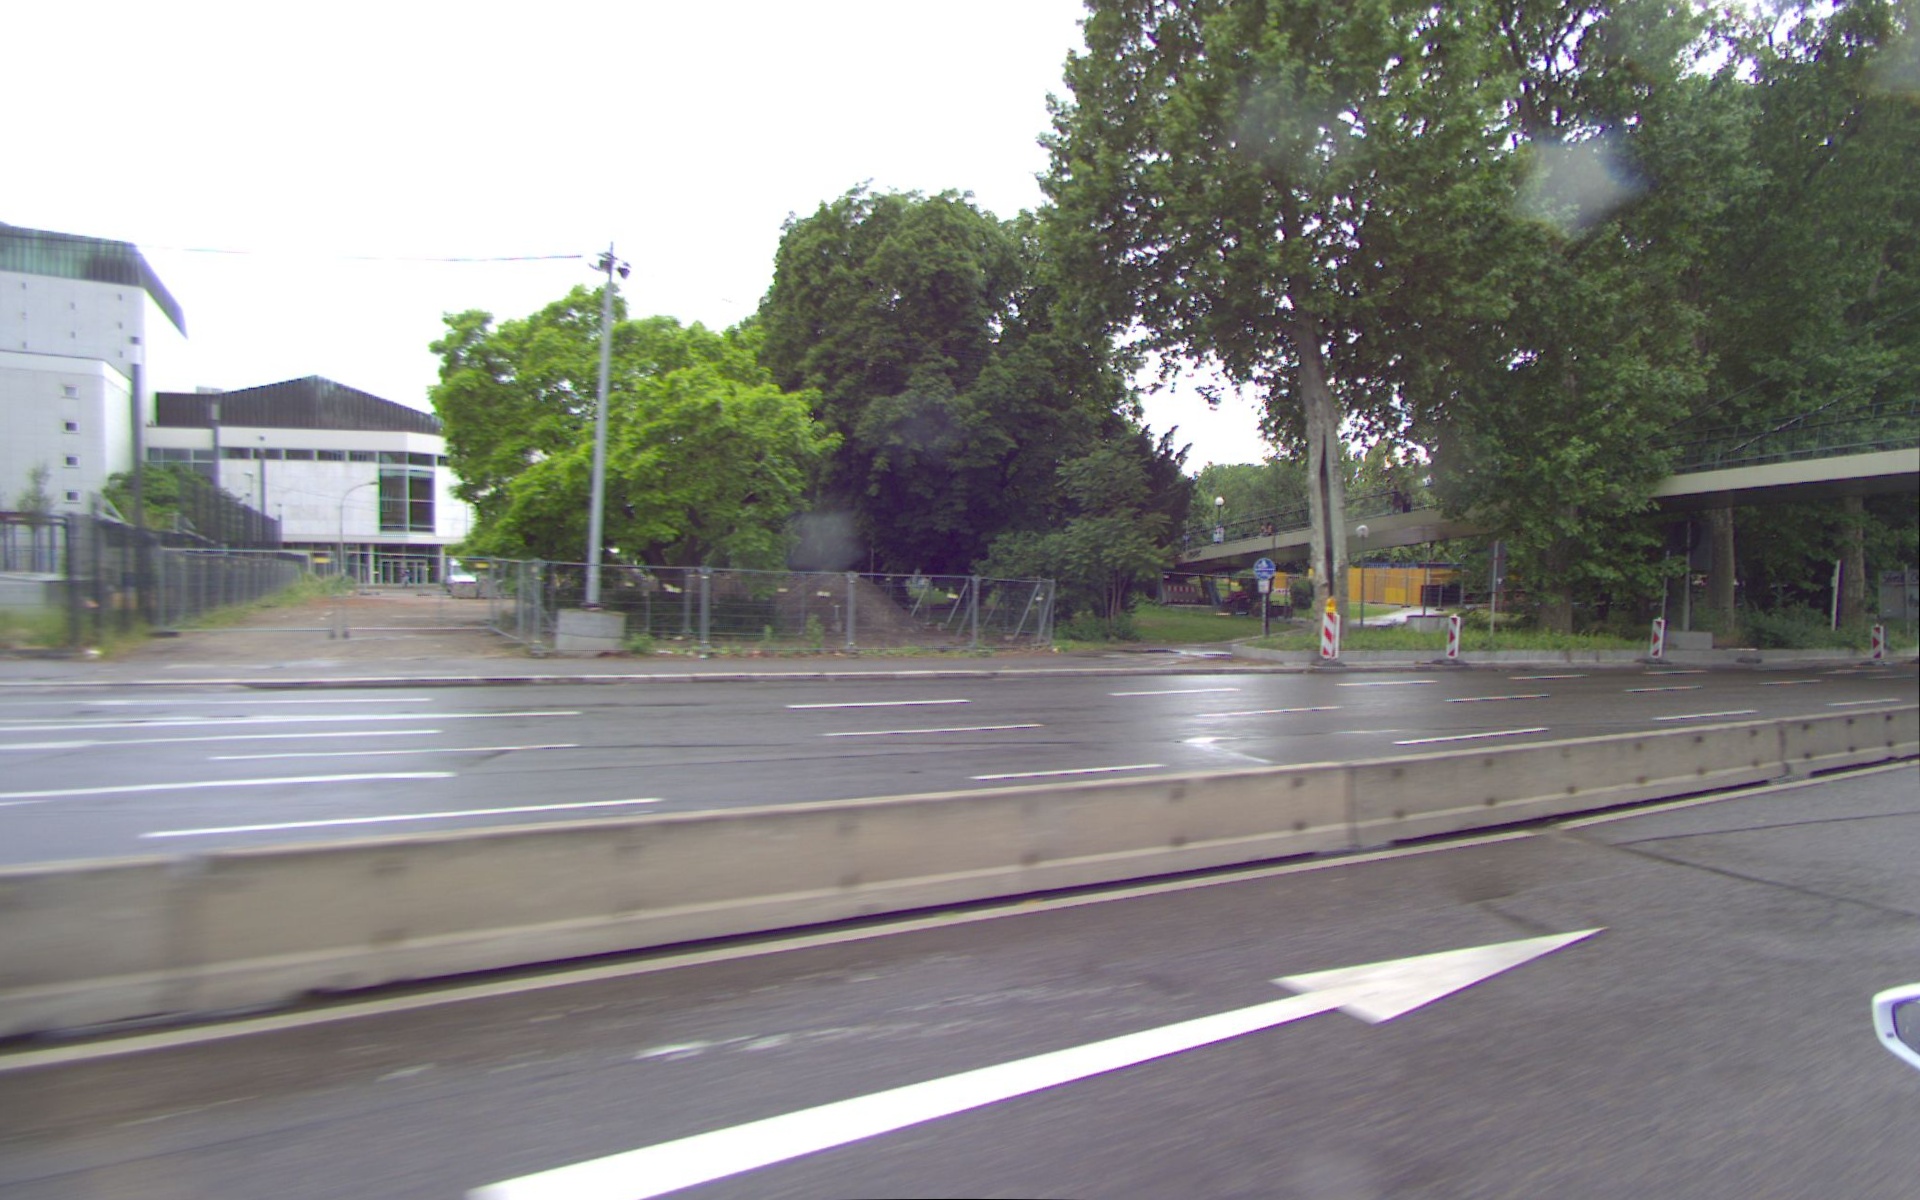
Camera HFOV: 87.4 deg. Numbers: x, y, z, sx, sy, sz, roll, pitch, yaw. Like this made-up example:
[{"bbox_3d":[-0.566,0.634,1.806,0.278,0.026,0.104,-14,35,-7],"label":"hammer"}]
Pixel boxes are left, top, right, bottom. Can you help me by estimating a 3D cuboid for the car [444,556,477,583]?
[{"bbox_3d":[-36.123,-2.205,72.648,1.698,1.817,3.964,2,1,-32],"label":"car"}]
